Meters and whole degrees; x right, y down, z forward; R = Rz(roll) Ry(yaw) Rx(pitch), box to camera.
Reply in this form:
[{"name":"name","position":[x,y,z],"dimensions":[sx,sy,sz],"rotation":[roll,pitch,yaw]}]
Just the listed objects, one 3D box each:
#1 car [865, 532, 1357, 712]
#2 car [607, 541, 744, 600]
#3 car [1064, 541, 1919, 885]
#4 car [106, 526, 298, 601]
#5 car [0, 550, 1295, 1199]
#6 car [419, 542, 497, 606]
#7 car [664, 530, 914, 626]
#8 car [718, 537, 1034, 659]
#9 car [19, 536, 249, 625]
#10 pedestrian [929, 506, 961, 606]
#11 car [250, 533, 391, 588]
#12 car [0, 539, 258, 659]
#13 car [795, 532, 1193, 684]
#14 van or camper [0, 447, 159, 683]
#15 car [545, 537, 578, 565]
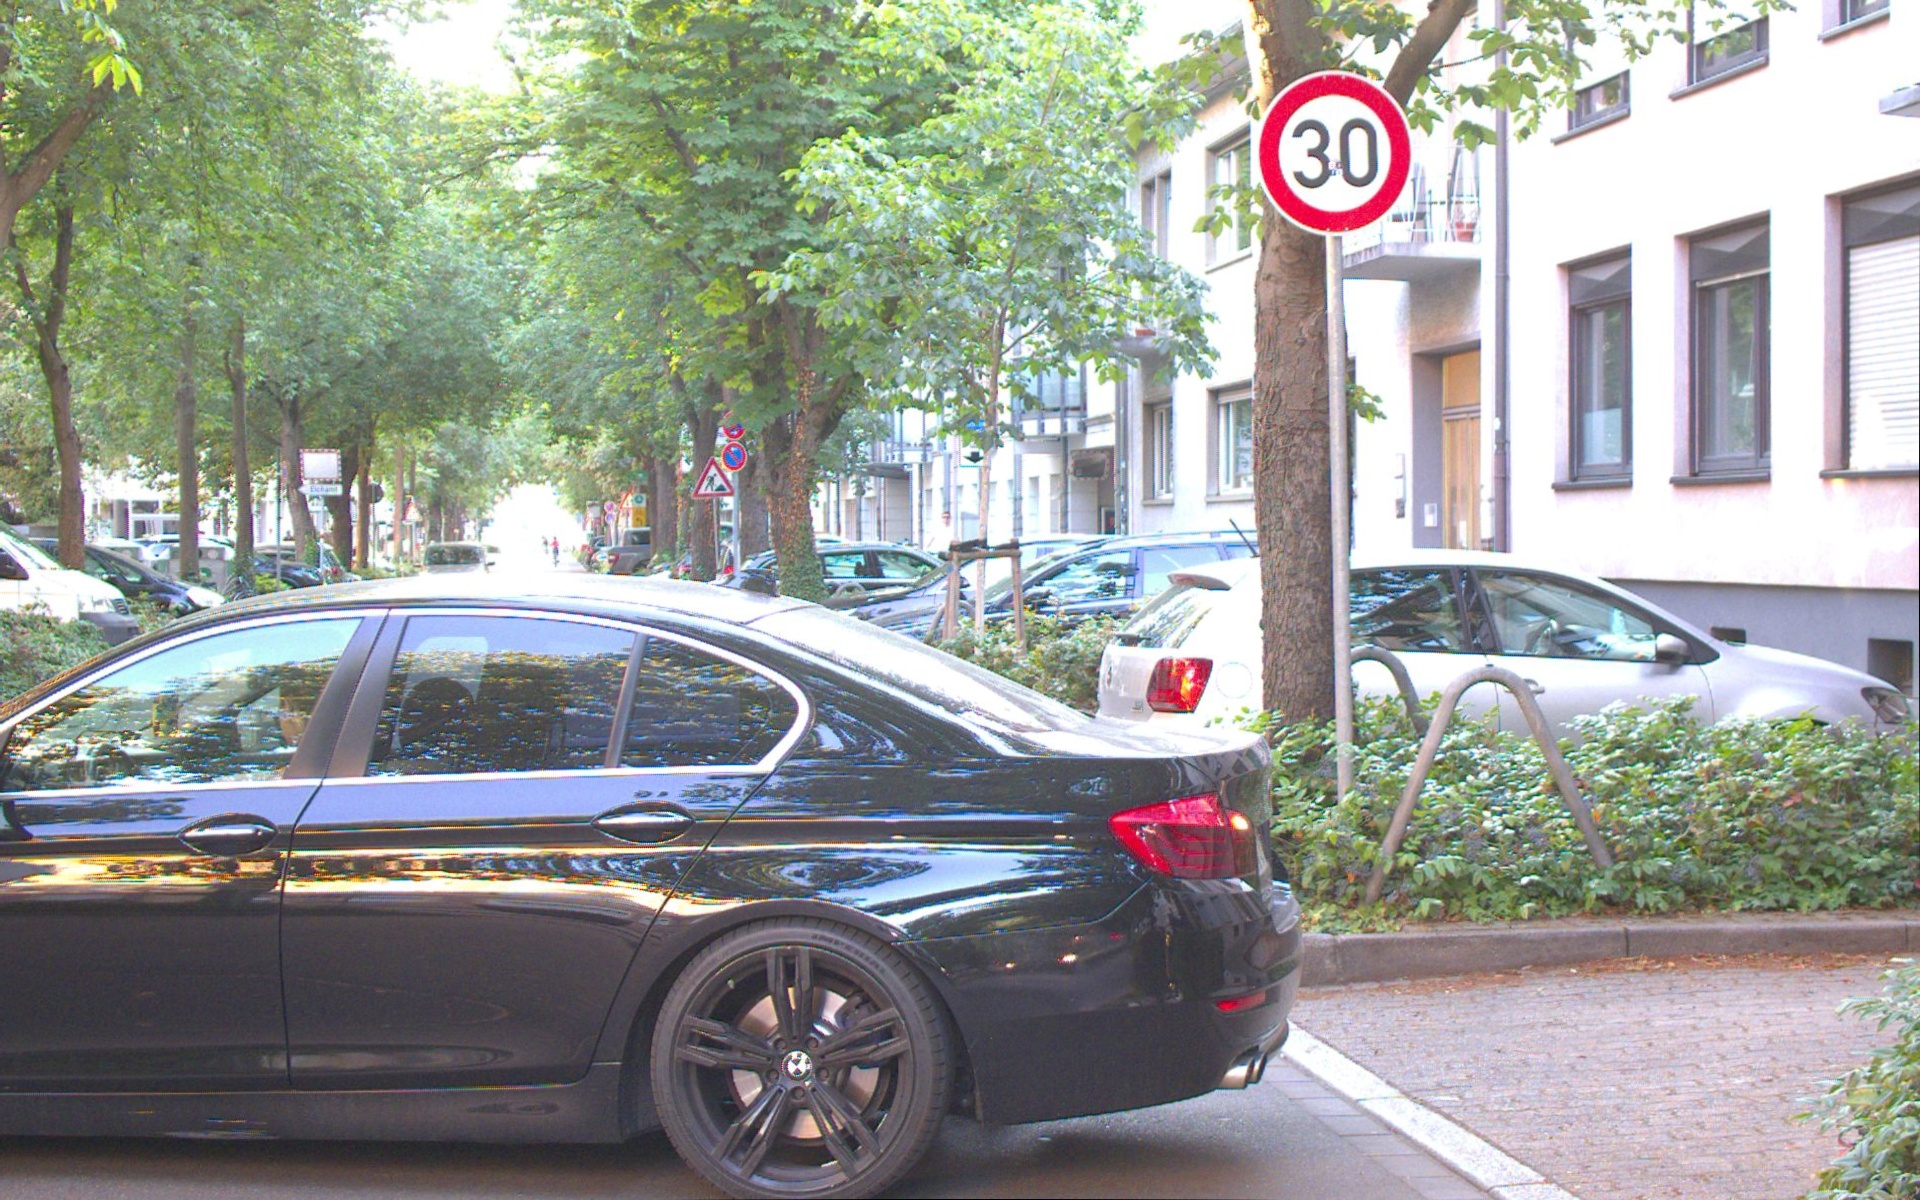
[{"name":"car","position":[1.264,0.160,29.681],"dimensions":[3.967,1.471,1.785],"rotation":[-1,1,-8]},{"name":"car","position":[-8.354,-0.881,100.776],"dimensions":[3.967,1.678,1.785],"rotation":[0,1,-5]},{"name":"car","position":[2.563,0.474,16.076],"dimensions":[3.908,1.471,1.665],"rotation":[-1,1,-8]},{"name":"car","position":[-16.758,-0.814,76.138],"dimensions":[3.967,1.614,1.785],"rotation":[0,1,-5]},{"name":"car","position":[-1.566,0.625,8.680],"dimensions":[4.746,1.475,1.800],"rotation":[0,1,7]},{"name":"car","position":[-12.701,-0.688,87.127],"dimensions":[1.779,1.557,4.169],"rotation":[0,1,-6]},{"name":"car","position":[-2.849,-0.380,56.824],"dimensions":[3.967,1.522,1.785],"rotation":[-1,1,-8]},{"name":"car","position":[-1.133,-0.050,44.960],"dimensions":[3.967,1.522,1.785],"rotation":[-1,1,-7]},{"name":"car","position":[-15.465,-0.376,64.508],"dimensions":[3.967,1.614,1.785],"rotation":[0,1,-5]},{"name":"pedestrian","position":[-0.295,-0.892,69.487],"dimensions":[0.589,2.007,0.669],"rotation":[0,1,-5]},{"name":"car","position":[-19.042,-1.184,102.428],"dimensions":[3.967,1.614,1.785],"rotation":[0,1,-5]},{"name":"car","position":[-11.926,-0.034,48.043],"dimensions":[3.967,1.614,1.785],"rotation":[0,1,-6]},{"name":"car","position":[0.319,0.062,36.150],"dimensions":[3.967,1.522,1.785],"rotation":[-1,1,-7]},{"name":"van or camper","position":[-11.129,-0.379,37.045],"dimensions":[4.662,2.470,2.000],"rotation":[0,1,-7]},{"name":"car","position":[-22.649,-2.784,195.400],"dimensions":[1.822,1.525,4.001],"rotation":[-1,1,-6]}]
